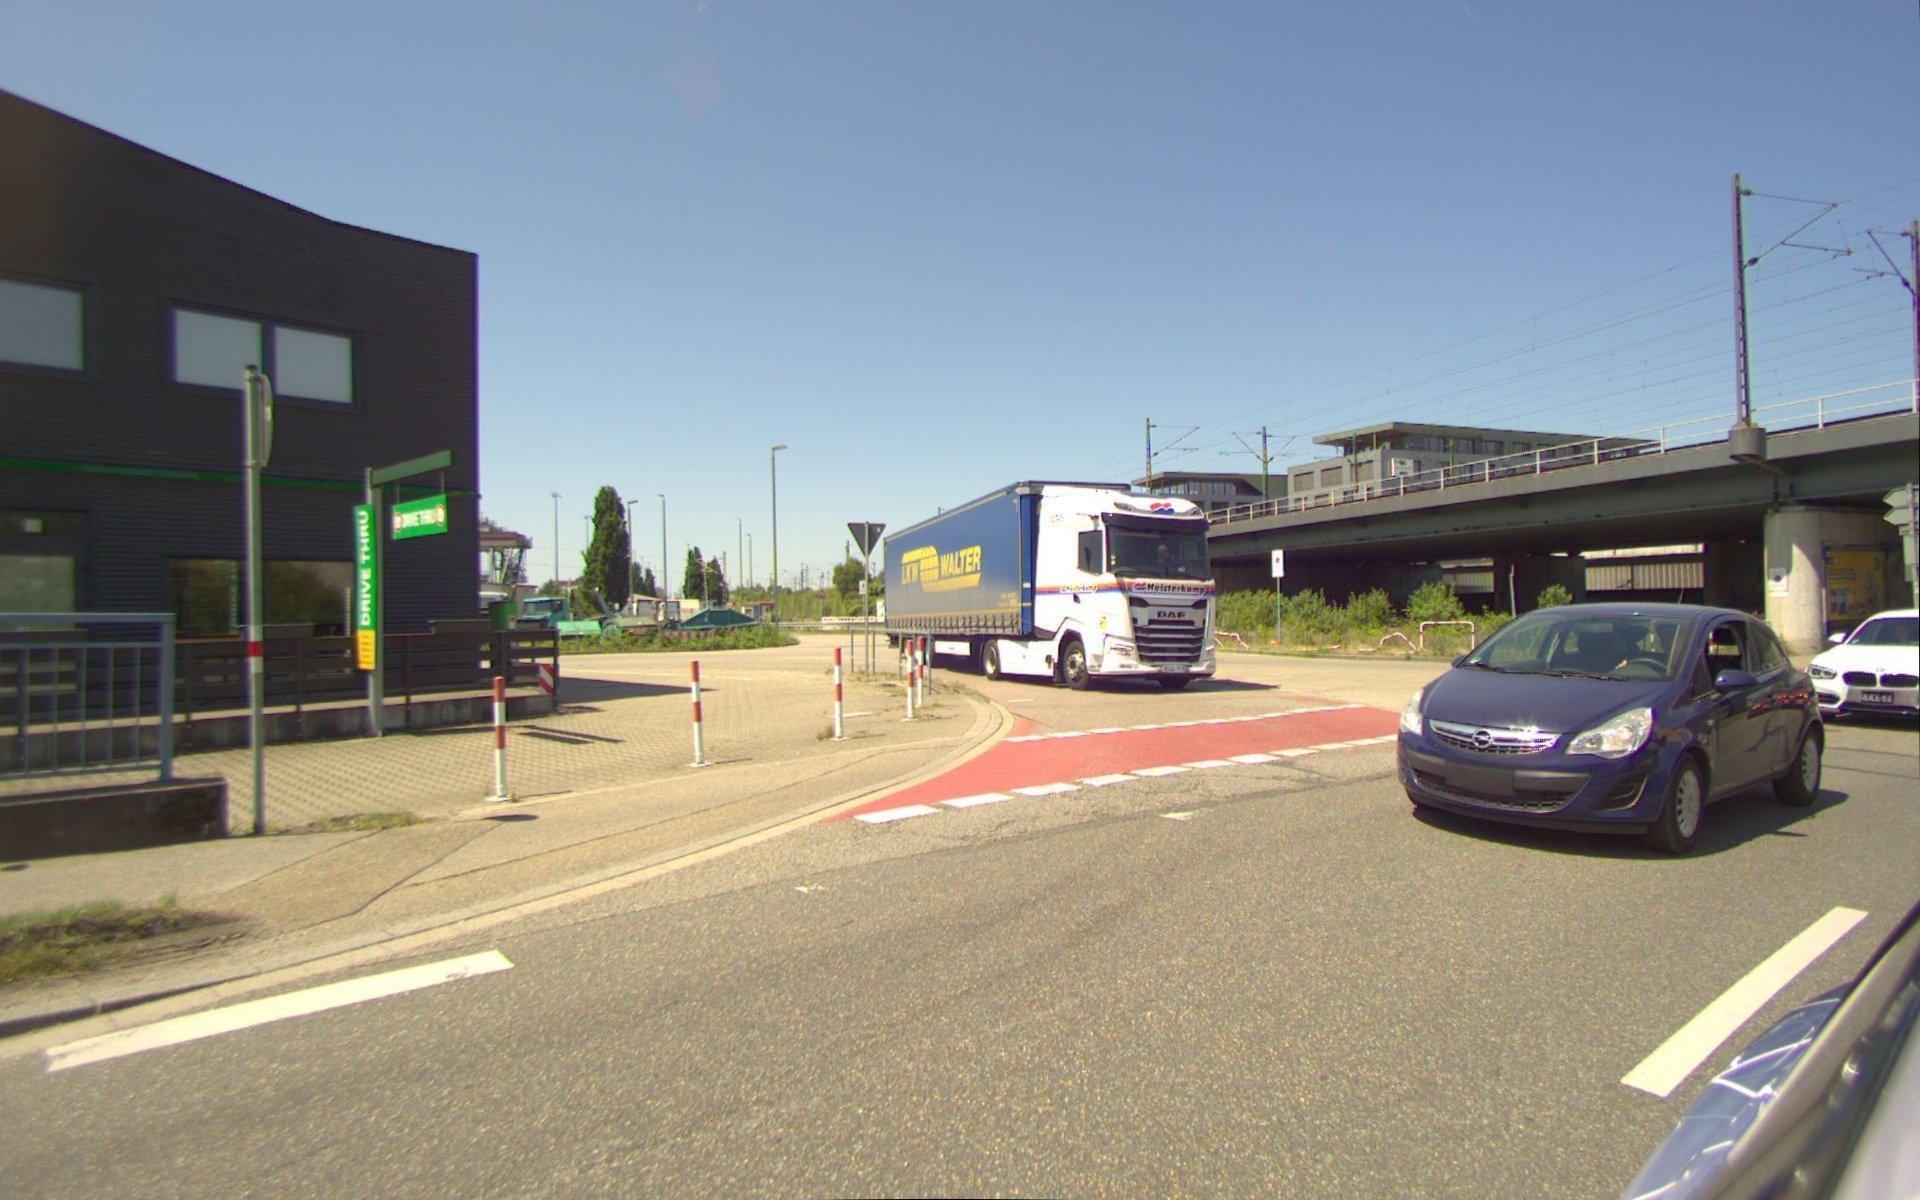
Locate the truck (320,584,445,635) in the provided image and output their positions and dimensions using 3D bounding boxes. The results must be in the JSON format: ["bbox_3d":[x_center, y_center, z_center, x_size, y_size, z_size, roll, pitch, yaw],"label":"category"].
[{"bbox_3d":[-33.653,0.507,59.257,2.621,2.825,6.062,0,0,23],"label":"truck"}]

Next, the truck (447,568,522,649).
[{"bbox_3d":[-22.189,0.380,47.038,2.667,3.424,7.410,0,-1,-29],"label":"truck"}]

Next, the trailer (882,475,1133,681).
[{"bbox_3d":[0.484,-0.361,27.401,2.447,4.142,13.931,0,-1,-16],"label":"trailer"}]

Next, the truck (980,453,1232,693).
[{"bbox_3d":[2.701,-0.489,20.609,2.522,4.153,5.773,0,0,-22],"label":"truck"}]

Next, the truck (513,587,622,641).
[{"bbox_3d":[-26.589,0.872,68.915,2.767,3.411,7.511,0,0,19],"label":"truck"}]

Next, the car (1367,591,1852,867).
[{"bbox_3d":[4.709,0.700,7.164,3.818,1.462,1.651,1,-1,-36],"label":"car"}]

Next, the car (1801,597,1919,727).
[{"bbox_3d":[12.540,0.729,12.869,3.974,1.461,1.765,0,1,-34],"label":"car"}]
